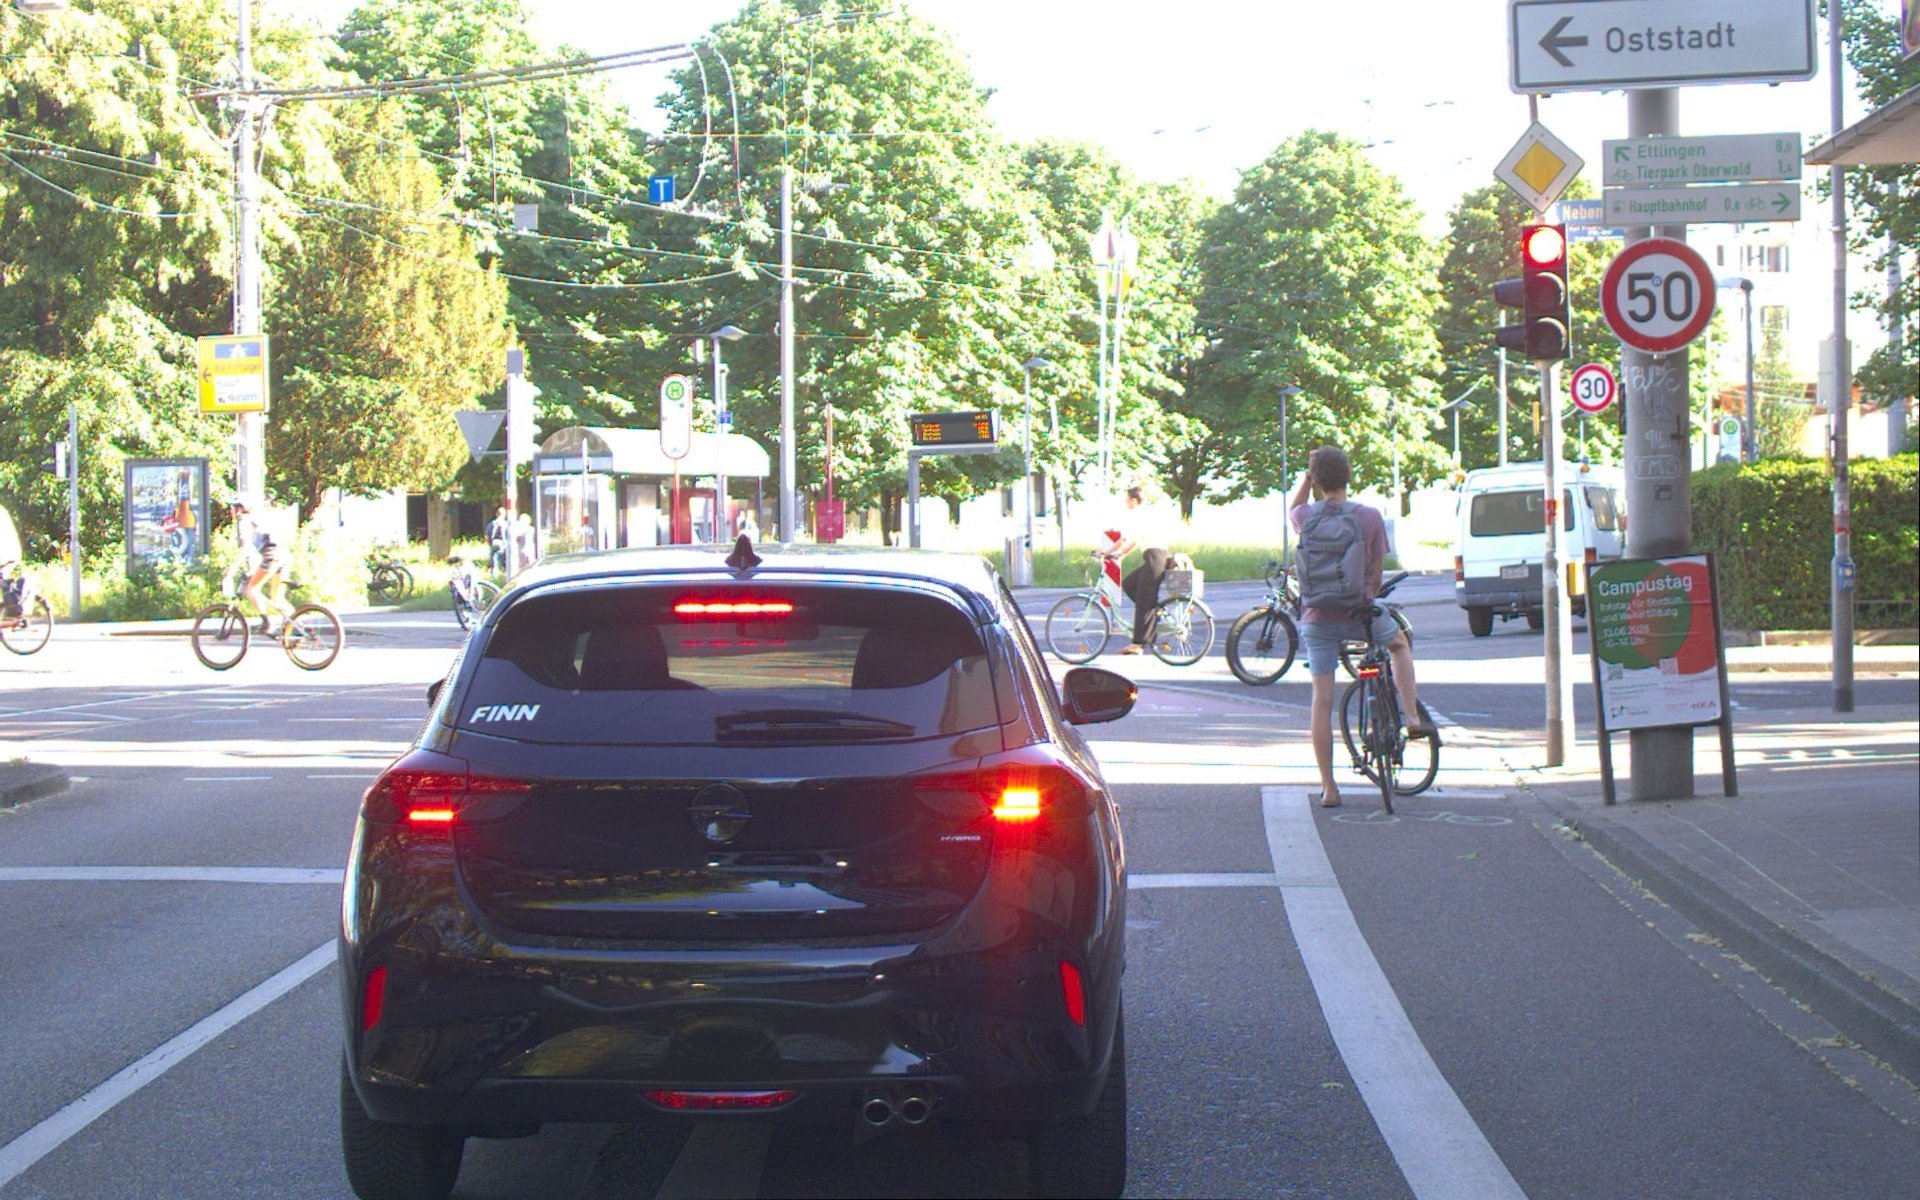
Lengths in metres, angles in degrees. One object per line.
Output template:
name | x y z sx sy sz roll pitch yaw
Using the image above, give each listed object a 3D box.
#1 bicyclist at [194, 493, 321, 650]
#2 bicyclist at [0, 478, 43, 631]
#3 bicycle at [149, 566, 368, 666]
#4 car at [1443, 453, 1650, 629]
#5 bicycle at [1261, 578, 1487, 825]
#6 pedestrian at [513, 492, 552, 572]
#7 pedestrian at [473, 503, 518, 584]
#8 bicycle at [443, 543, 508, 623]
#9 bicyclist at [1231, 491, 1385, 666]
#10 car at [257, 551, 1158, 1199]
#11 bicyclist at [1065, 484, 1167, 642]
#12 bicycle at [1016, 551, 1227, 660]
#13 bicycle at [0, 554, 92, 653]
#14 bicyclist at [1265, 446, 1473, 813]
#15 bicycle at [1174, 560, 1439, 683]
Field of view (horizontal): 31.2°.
bicyclist | -7.086 -0.292 34.713 1.010 1.565 0.799 0 1 11
bicyclist | -10.960 -0.515 38.681 0.927 1.701 0.875 0 1 12
bicycle | -7.077 0.162 34.712 2.059 0.980 0.672 0 1 11
car | 7.987 -0.822 46.466 2.065 2.241 4.883 0 2 18
bicycle | 2.117 0.488 17.870 0.860 1.149 2.172 -1 1 -1
pedestrian | -8.726 -1.385 70.152 0.636 1.624 0.572 1 1 7
pedestrian | -9.478 -1.154 70.125 0.751 1.624 0.597 1 1 7
bicycle | -6.538 -0.245 46.489 0.605 1.027 1.982 -1 1 -1
bicyclist | 3.091 -0.202 30.583 1.112 1.515 0.922 -1 1 -13
car | -0.503 0.612 8.712 1.727 1.424 4.187 0 1 0
bicyclist | 1.591 -0.382 35.004 0.862 1.589 0.649 0 1 20
bicycle | 1.646 0.052 35.011 2.057 1.090 0.592 0 1 20
bicycle | -11.028 0.040 38.714 2.294 1.080 0.800 0 1 12
bicyclist | 2.112 0.140 17.843 0.941 1.844 0.864 -1 1 -1
bicycle | 3.079 0.182 30.598 2.190 1.029 0.835 -1 1 -13
